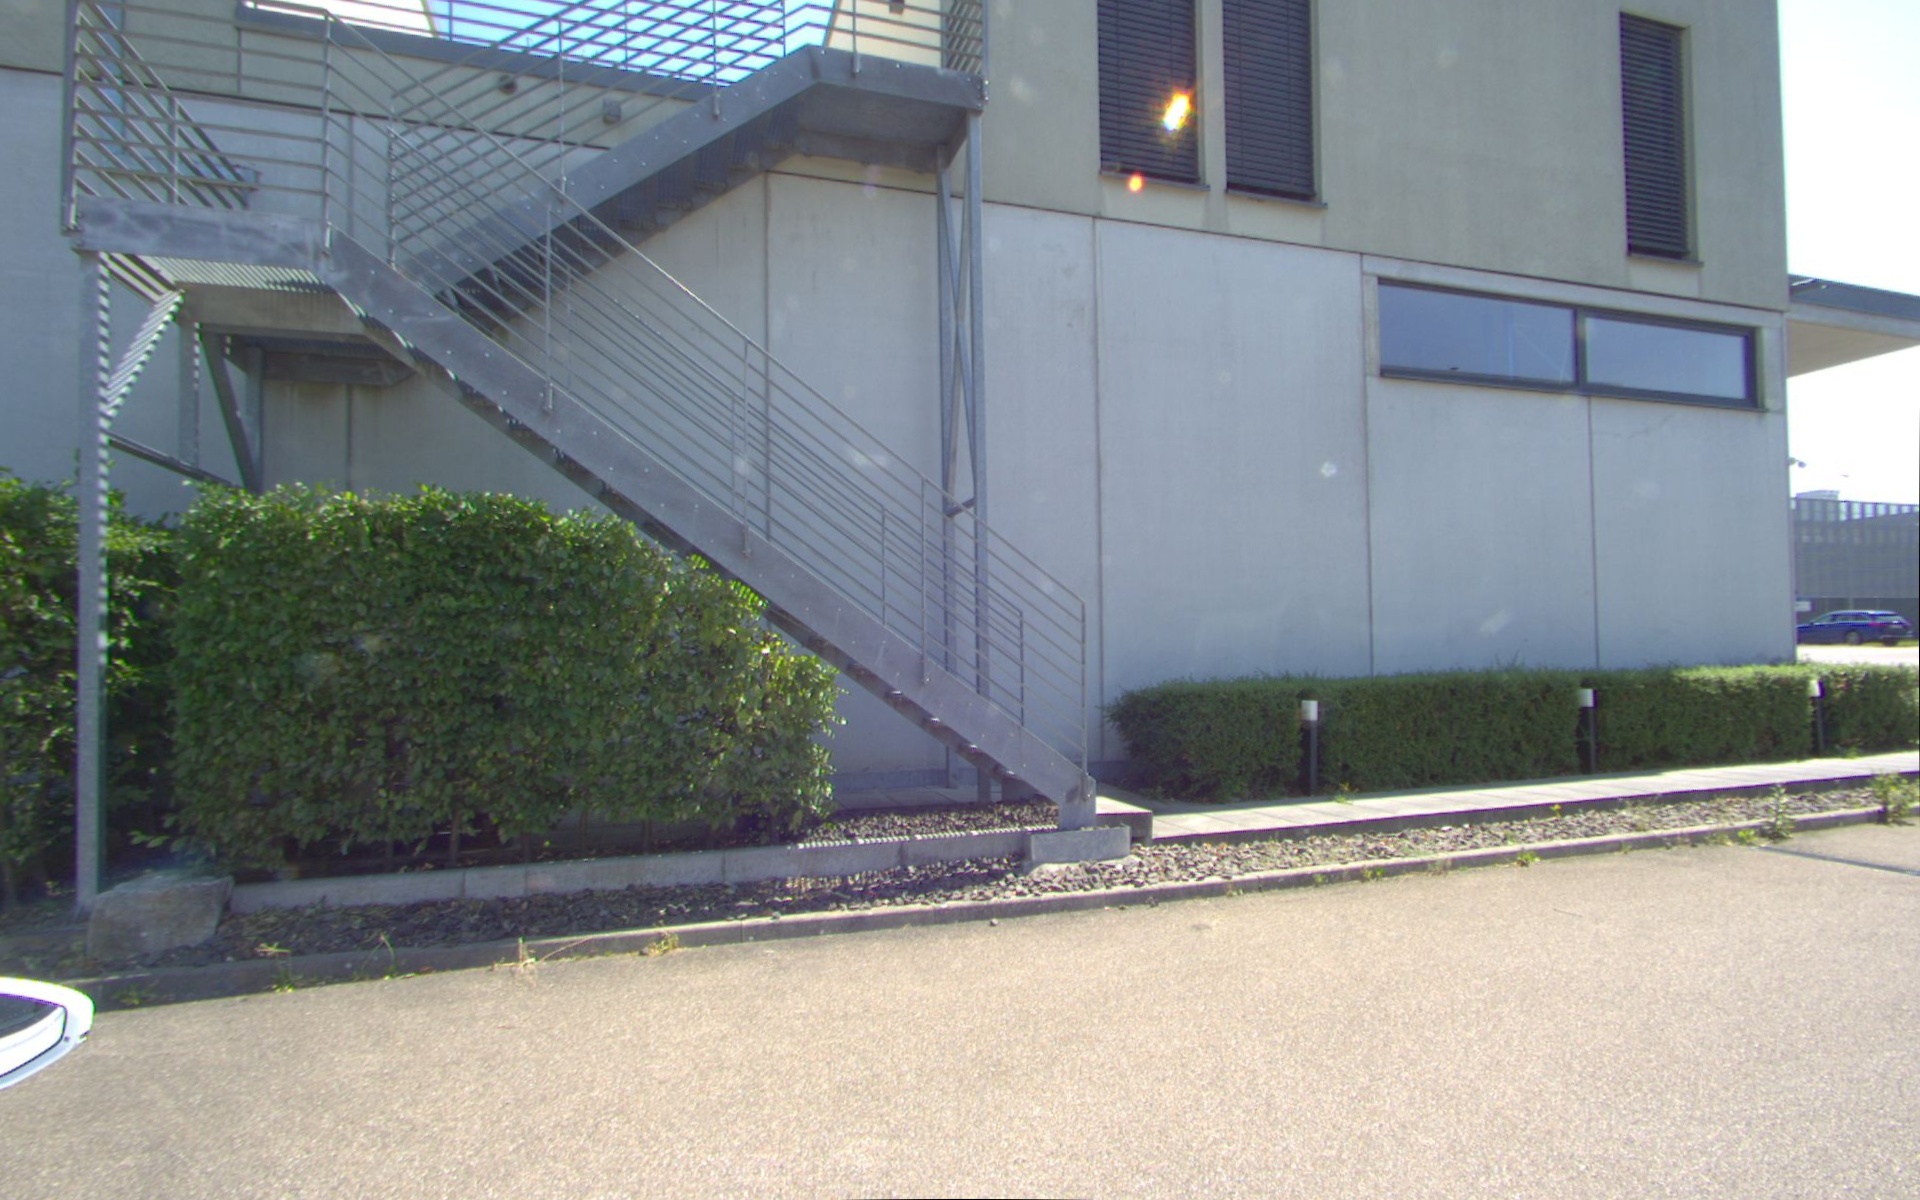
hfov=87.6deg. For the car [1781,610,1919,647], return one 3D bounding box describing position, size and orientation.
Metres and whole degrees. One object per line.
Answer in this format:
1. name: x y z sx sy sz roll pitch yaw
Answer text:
1. car: 37.004 1.222 41.719 1.716 1.433 4.450 1 -2 -4
